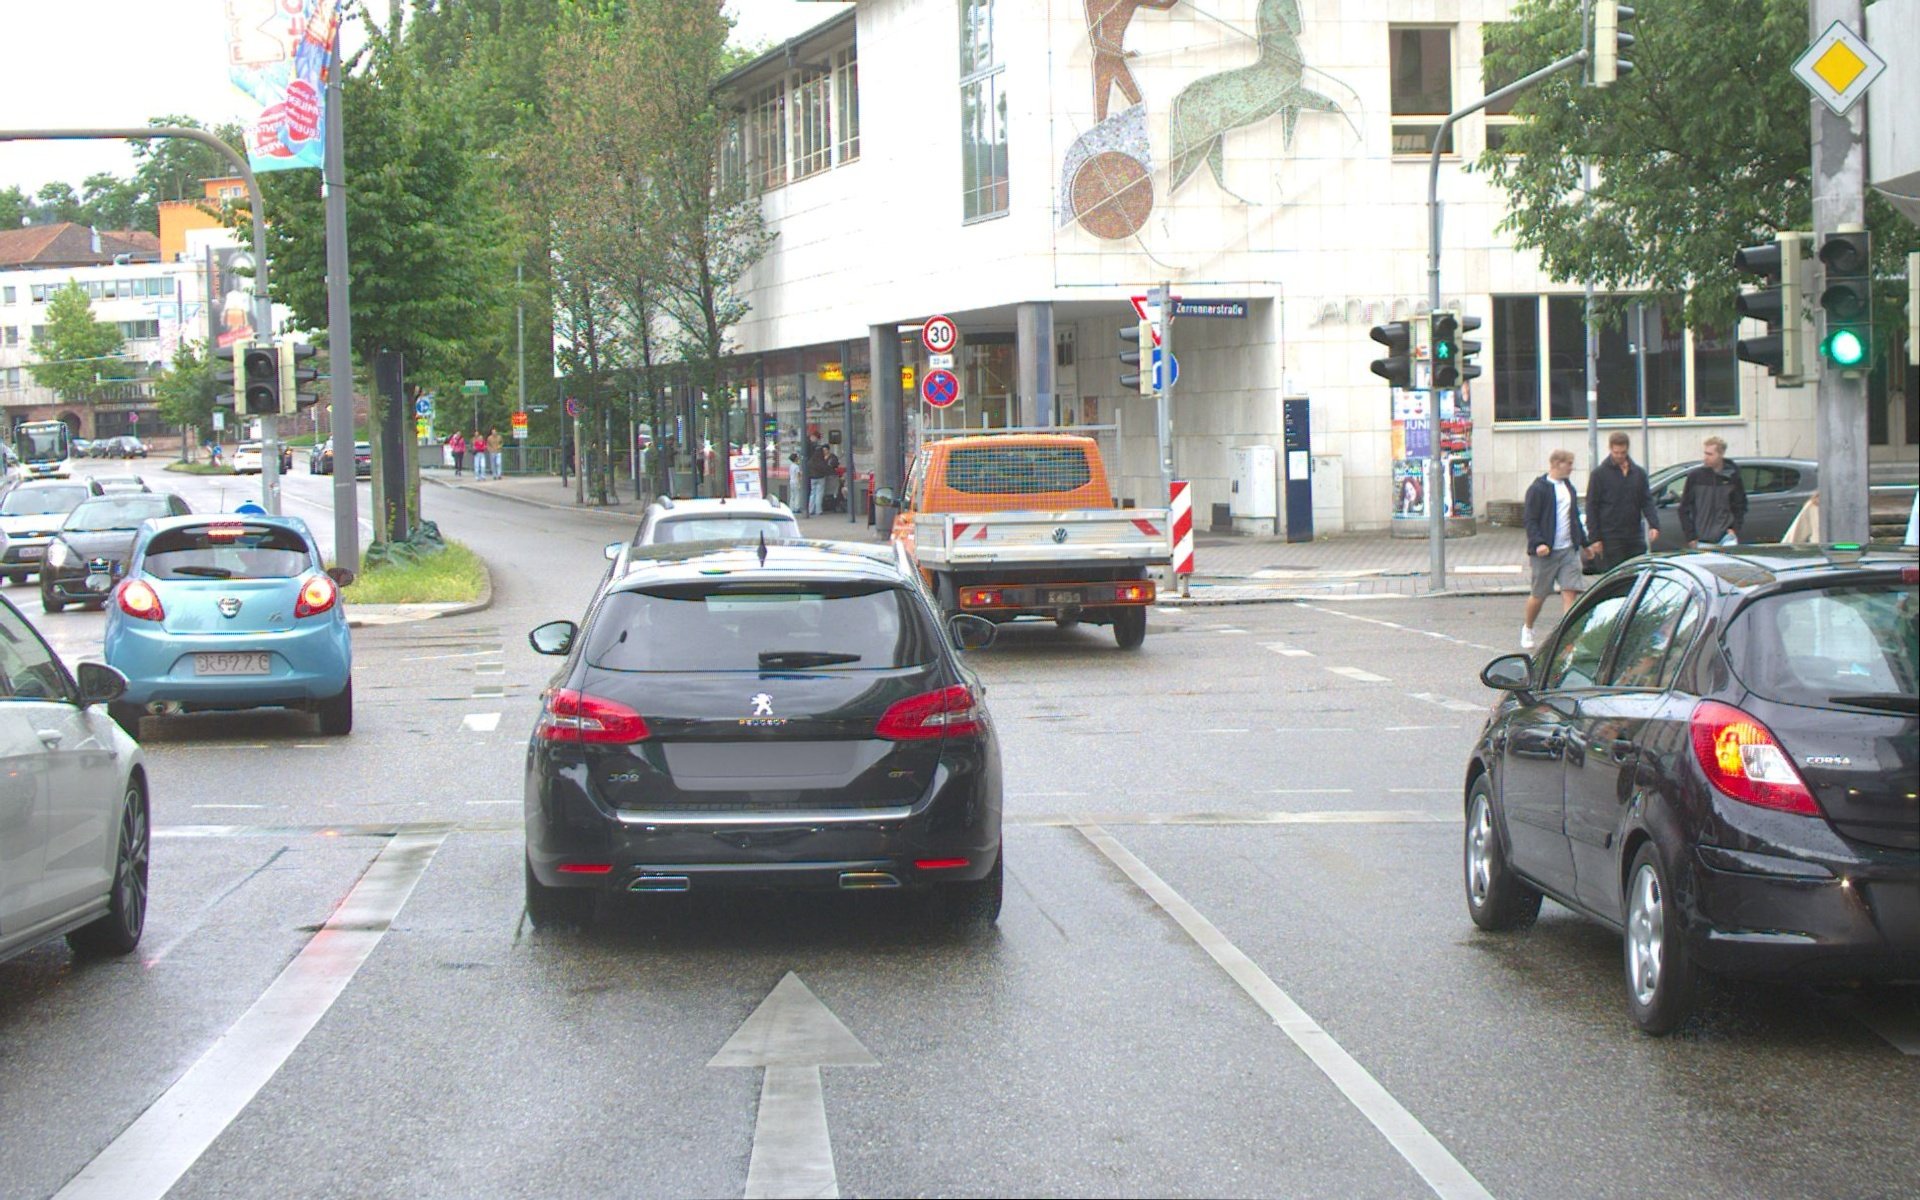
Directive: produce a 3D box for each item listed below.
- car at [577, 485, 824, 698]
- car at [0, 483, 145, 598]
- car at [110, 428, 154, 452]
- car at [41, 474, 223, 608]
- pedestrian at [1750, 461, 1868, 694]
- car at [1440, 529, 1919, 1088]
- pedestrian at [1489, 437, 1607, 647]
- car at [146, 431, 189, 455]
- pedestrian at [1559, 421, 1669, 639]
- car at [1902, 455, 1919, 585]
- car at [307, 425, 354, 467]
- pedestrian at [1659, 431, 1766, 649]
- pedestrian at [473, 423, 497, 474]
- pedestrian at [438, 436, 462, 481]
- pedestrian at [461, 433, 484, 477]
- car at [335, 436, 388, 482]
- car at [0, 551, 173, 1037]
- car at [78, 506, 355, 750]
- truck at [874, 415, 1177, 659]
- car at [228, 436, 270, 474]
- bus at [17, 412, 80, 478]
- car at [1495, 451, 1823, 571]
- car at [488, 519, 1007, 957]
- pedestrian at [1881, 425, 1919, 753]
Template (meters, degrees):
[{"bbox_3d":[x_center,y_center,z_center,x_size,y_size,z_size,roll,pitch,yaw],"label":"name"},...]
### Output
[{"bbox_3d":[-2.121,-0.130,27.628,1.794,1.478,4.001,-2,3,-5],"label":"car"},{"bbox_3d":[-14.480,-0.988,55.461,1.827,1.730,4.311,-2,2,-3],"label":"car"},{"bbox_3d":[-59.890,-11.584,248.636,1.645,1.559,3.599,1,0,-39],"label":"car"},{"bbox_3d":[-10.530,-0.786,43.933,1.622,1.550,3.660,-2,3,-4],"label":"car"},{"bbox_3d":[6.271,-0.178,25.416,0.574,1.657,0.940,-3,3,0],"label":"pedestrian"},{"bbox_3d":[2.779,0.539,11.409,1.708,1.452,3.743,0,3,-2],"label":"car"},{"bbox_3d":[5.077,-0.502,29.720,0.748,1.773,0.888,-2,1,-6],"label":"pedestrian"},{"bbox_3d":[-58.251,-11.523,252.608,1.645,1.559,3.599,1,0,-39],"label":"car"},{"bbox_3d":[5.803,-0.620,30.548,0.758,1.895,0.790,-2,1,-2],"label":"pedestrian"},{"bbox_3d":[12.687,-0.923,37.631,4.258,1.415,1.788,-2,3,-15],"label":"car"},{"bbox_3d":[-26.269,-6.416,143.452,1.644,1.559,3.601,1,0,-15],"label":"car"},{"bbox_3d":[6.657,-0.532,30.436,0.732,1.889,0.676,-2,1,-3],"label":"pedestrian"},{"bbox_3d":[-16.723,-5.326,121.014,0.653,1.761,0.923,-3,3,-15],"label":"pedestrian"},{"bbox_3d":[-18.811,-5.236,126.899,0.717,1.614,0.770,-3,3,-15],"label":"pedestrian"},{"bbox_3d":[-18.022,-5.347,127.102,0.725,1.584,0.607,-3,3,-15],"label":"pedestrian"},{"bbox_3d":[-22.434,-5.272,128.849,1.644,1.559,3.601,1,0,-15],"label":"car"},{"bbox_3d":[-3.738,0.560,10.793,1.765,1.404,4.001,1,1,-3],"label":"car"},{"bbox_3d":[-5.185,0.129,24.080,1.695,1.469,3.692,-2,3,-12],"label":"car"},{"bbox_3d":[0.507,-0.625,31.797,2.121,2.018,4.717,-2,2,-7],"label":"truck"},{"bbox_3d":[-31.996,-6.515,154.689,1.644,1.559,3.601,1,0,-15],"label":"car"},{"bbox_3d":[-47.159,-8.057,177.667,2.743,3.064,12.243,-2,4,-16],"label":"bus"},{"bbox_3d":[8.833,-1.130,43.681,3.988,1.471,1.999,0,2,10],"label":"car"},{"bbox_3d":[-0.749,0.433,13.915,1.795,1.478,4.001,0,2,0],"label":"car"},{"bbox_3d":[5.684,-0.072,19.689,0.622,1.840,0.847,-1,0,4],"label":"pedestrian"}]
